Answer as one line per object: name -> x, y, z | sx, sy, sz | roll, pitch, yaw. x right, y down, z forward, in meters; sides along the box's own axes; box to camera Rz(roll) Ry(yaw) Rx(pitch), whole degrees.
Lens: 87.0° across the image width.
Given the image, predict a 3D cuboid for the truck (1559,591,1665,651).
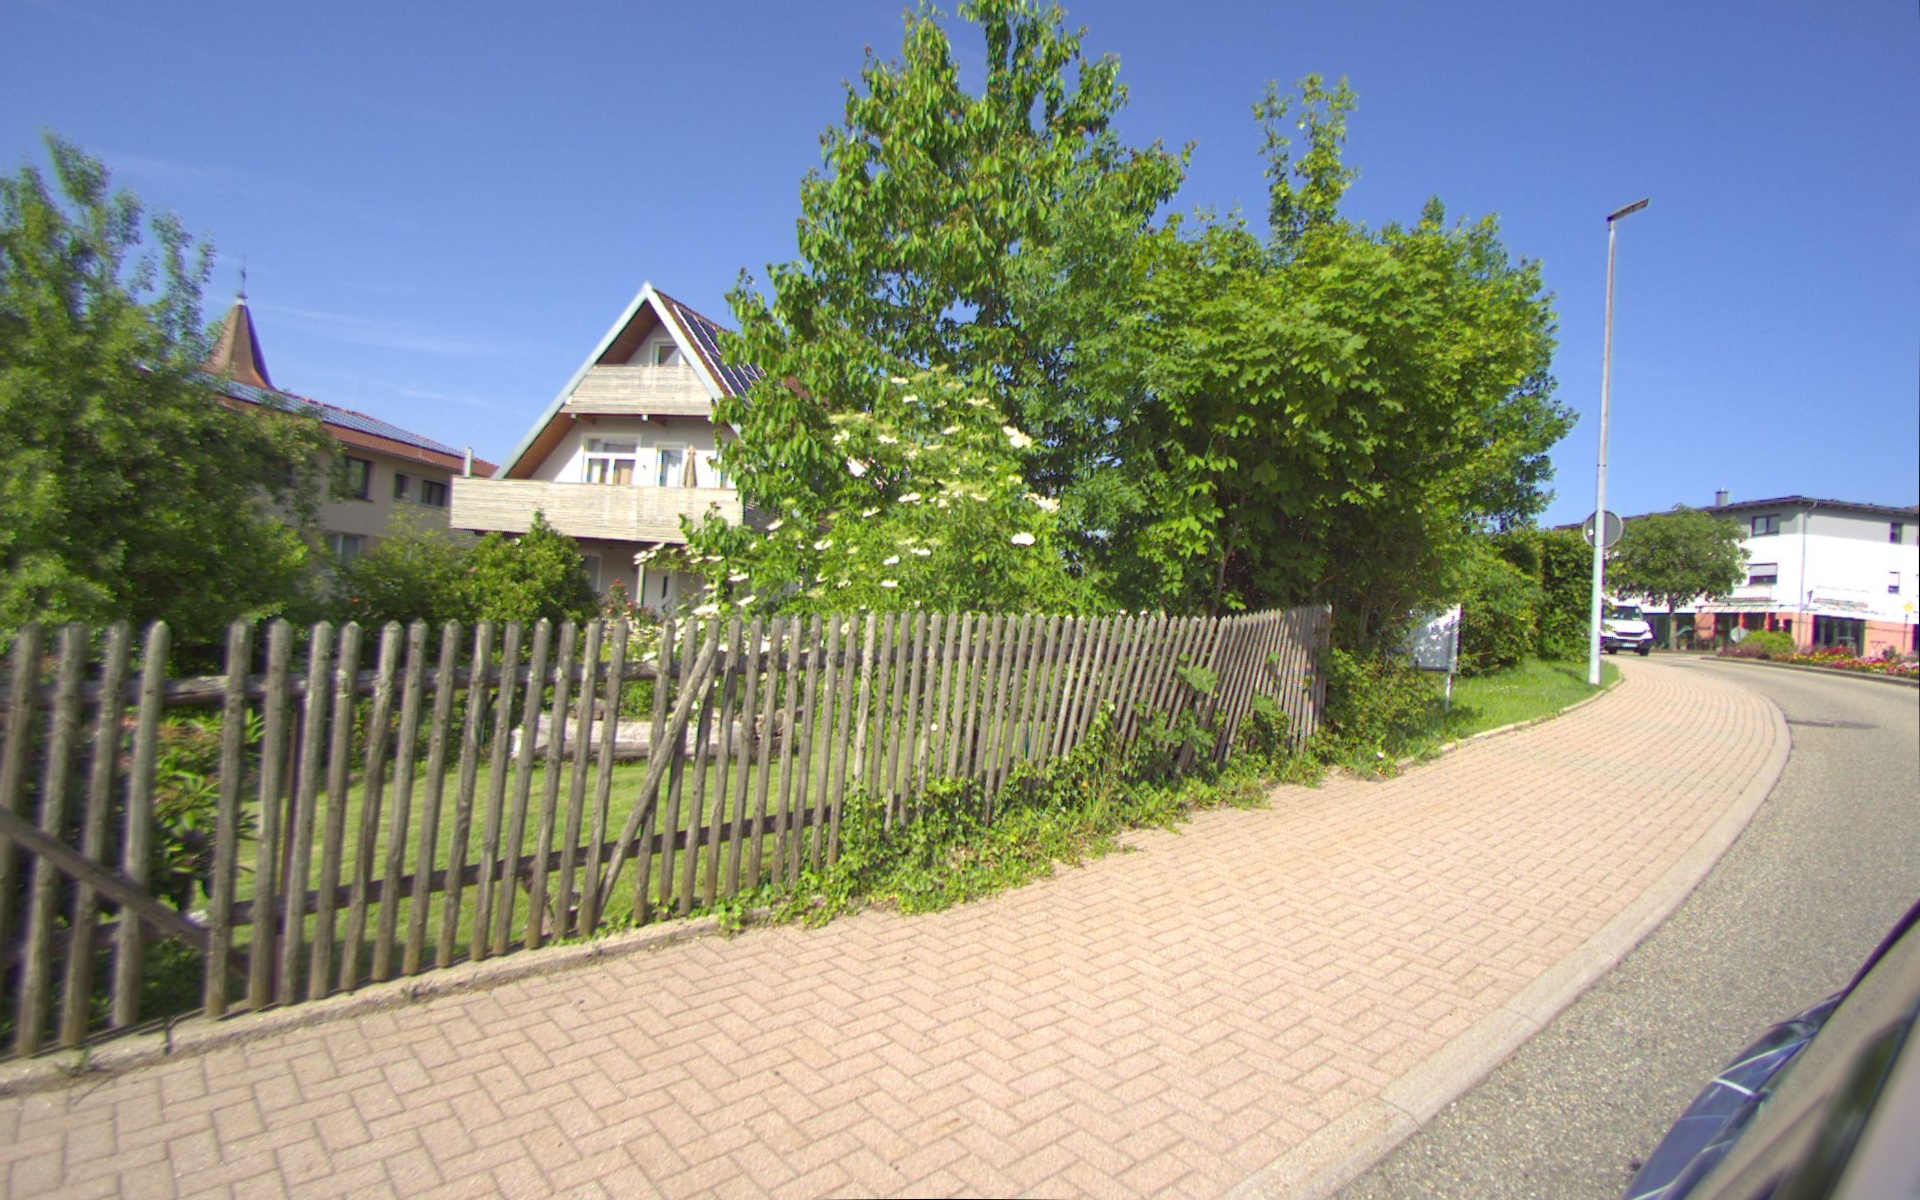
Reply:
truck -> 27.981, 1.010, 43.715 | 1.972, 2.373, 6.458 | -1, -3, 16
